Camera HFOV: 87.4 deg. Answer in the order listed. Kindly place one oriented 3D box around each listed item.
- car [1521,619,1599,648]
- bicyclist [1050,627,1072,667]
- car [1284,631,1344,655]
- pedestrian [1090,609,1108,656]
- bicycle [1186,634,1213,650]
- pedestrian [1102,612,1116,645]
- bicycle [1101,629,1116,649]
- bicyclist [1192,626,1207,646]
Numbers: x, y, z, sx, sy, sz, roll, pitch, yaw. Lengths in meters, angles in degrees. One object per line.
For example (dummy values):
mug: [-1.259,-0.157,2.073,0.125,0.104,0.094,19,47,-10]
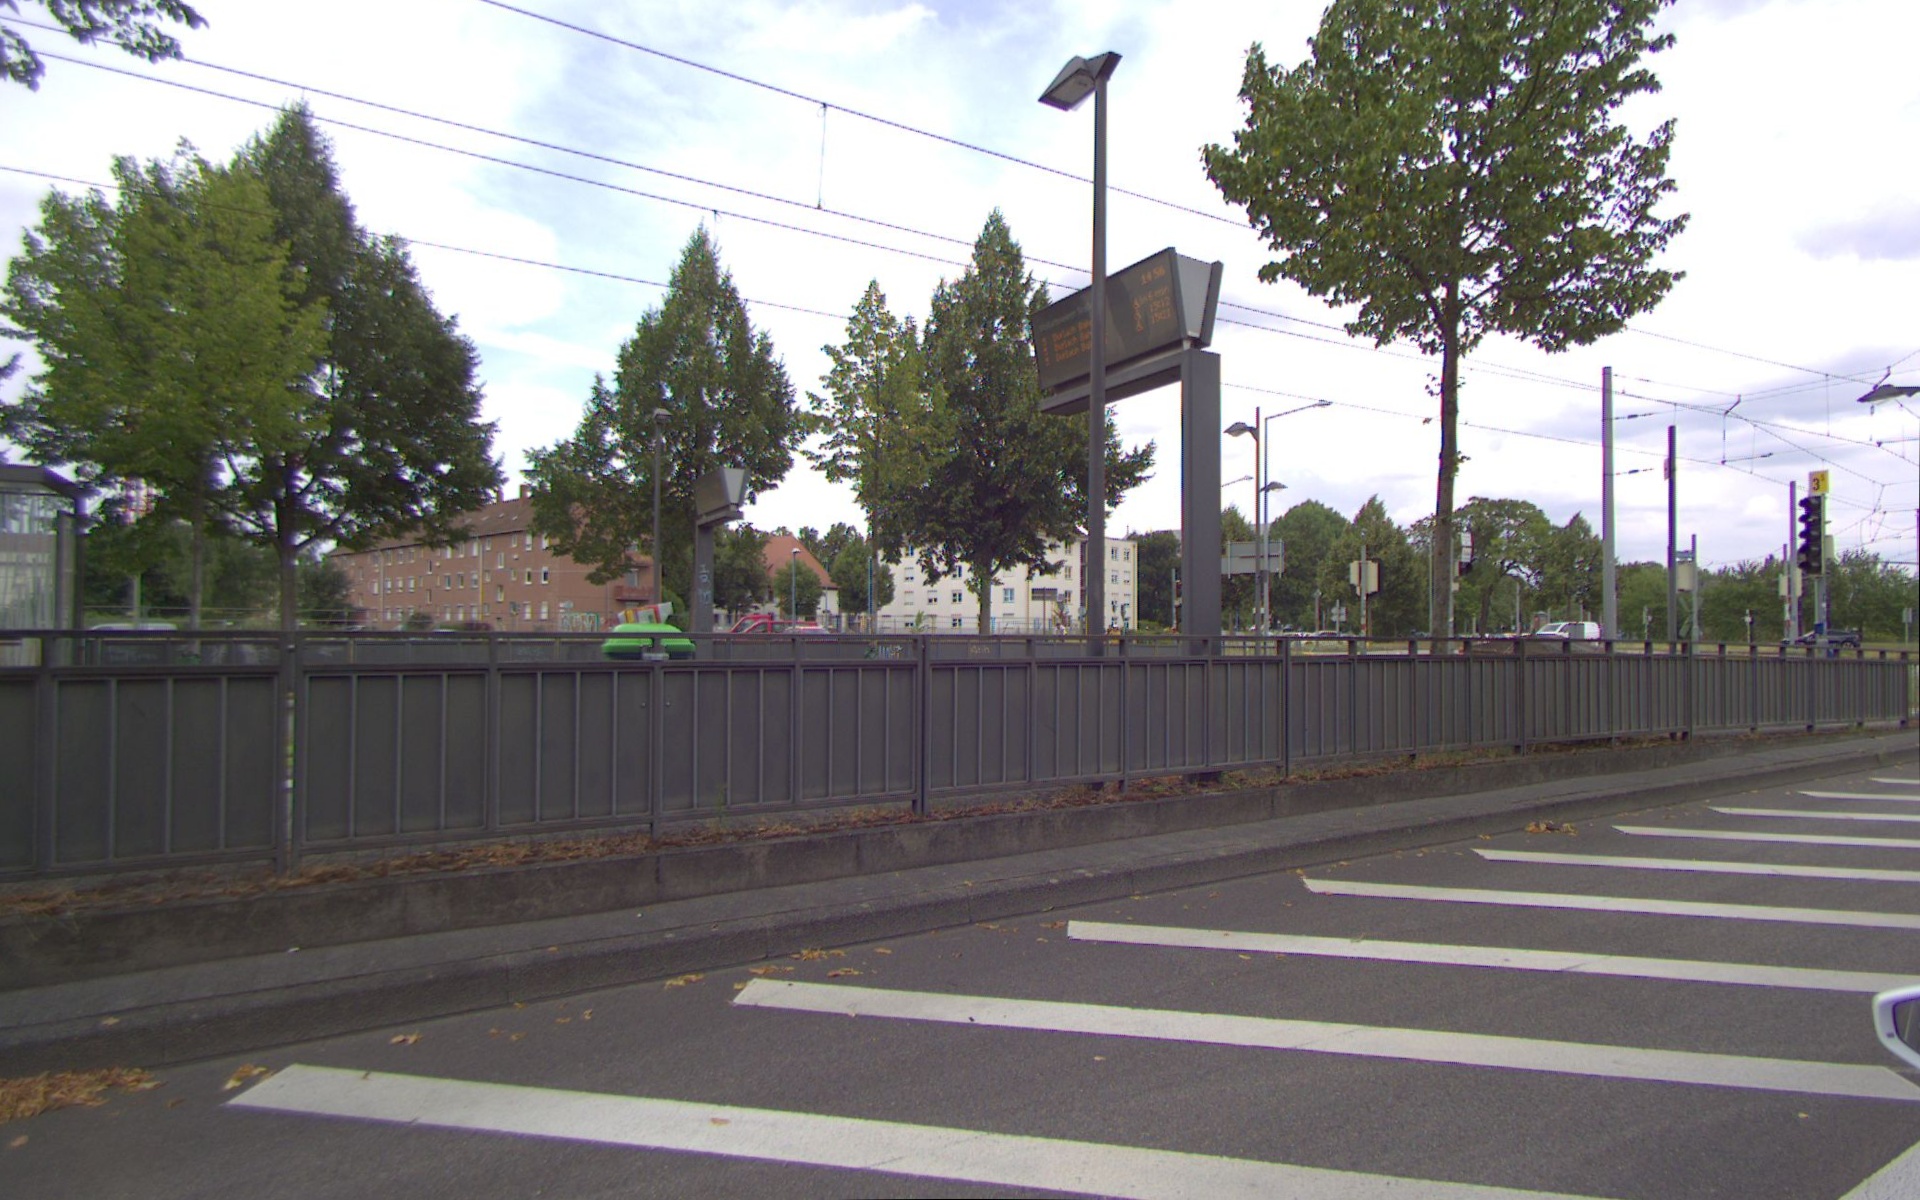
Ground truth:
car: [42.488,2.361,71.129,4.920,2.040,1.993,0,-1,-18]
bicyclist: [4.772,2.229,47.501,0.815,1.859,0.783,0,-1,22]
car: [27.263,3.314,77.513,3.920,1.663,2.000,2,1,2]
pedestrian: [5.639,1.328,40.820,0.636,1.874,0.492,0,-1,21]
bicycle: [18.757,3.268,78.634,0.796,1.144,2.698,0,-1,-17]
pedestrian: [9.275,1.760,62.449,0.783,2.040,0.910,0,-1,16]
bicycle: [9.237,2.401,62.405,0.600,1.151,2.566,2,0,16]
bicyclist: [18.778,2.823,78.704,0.876,1.583,0.748,0,-1,-13]
